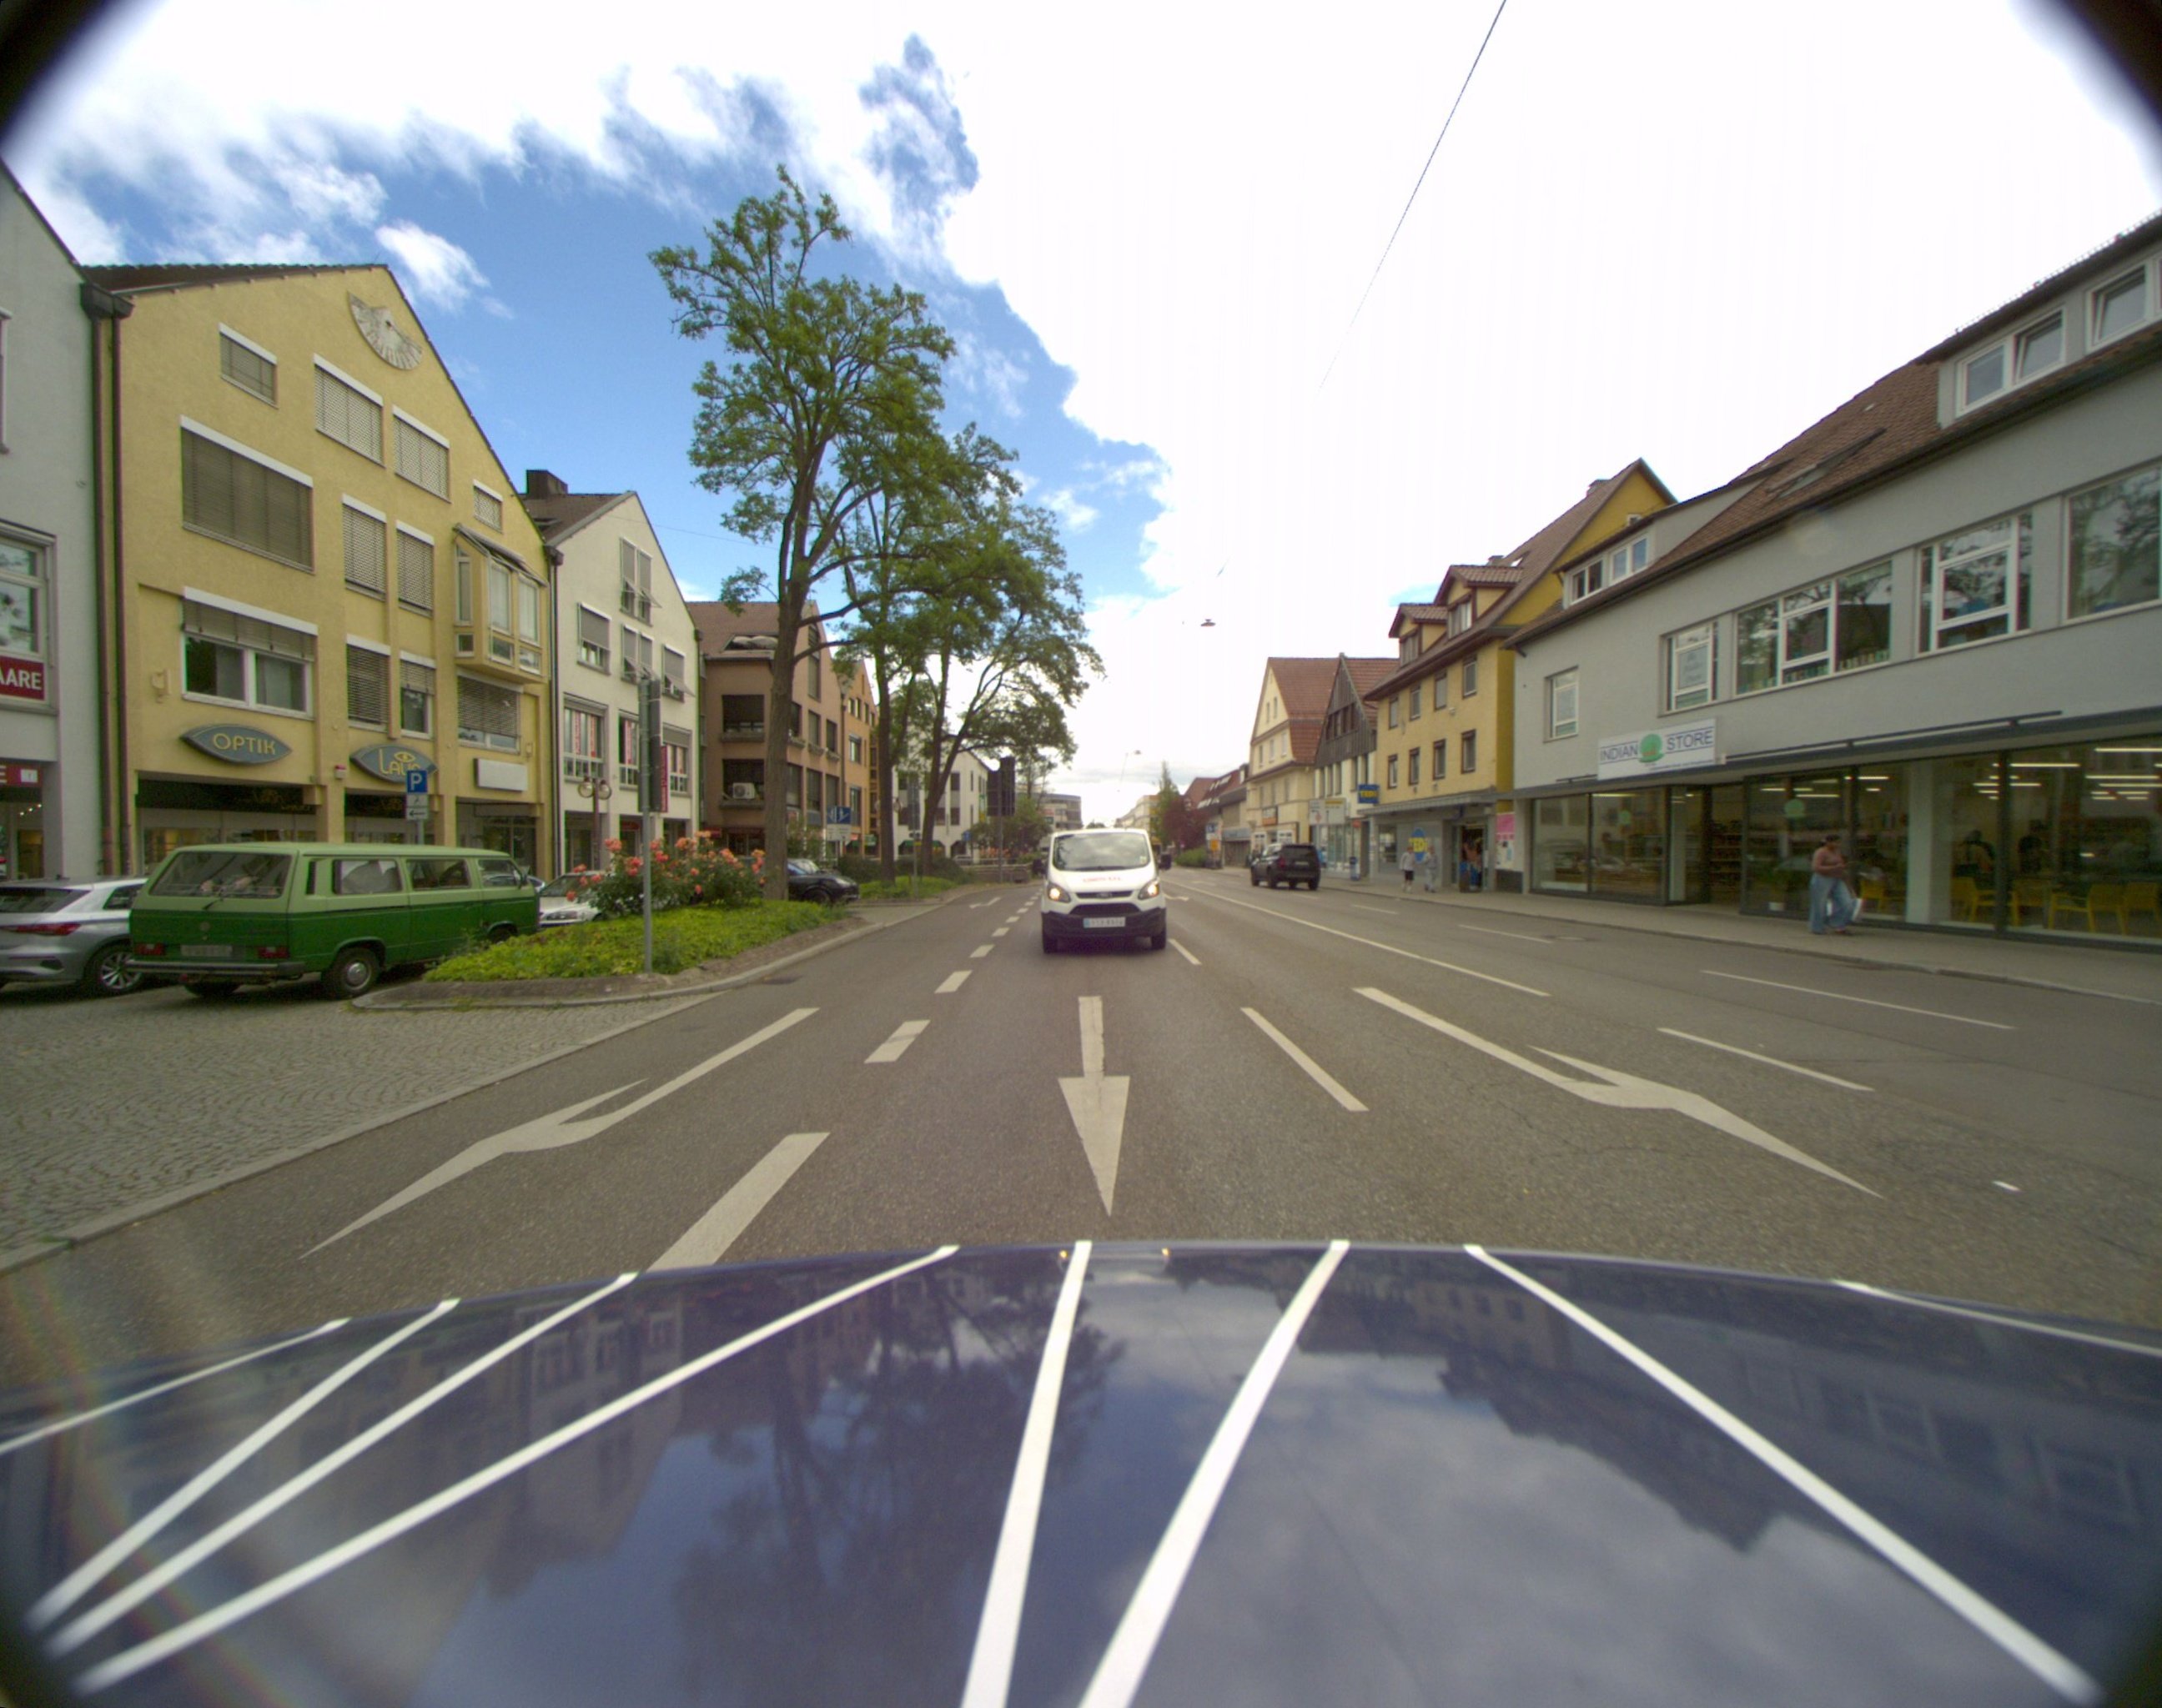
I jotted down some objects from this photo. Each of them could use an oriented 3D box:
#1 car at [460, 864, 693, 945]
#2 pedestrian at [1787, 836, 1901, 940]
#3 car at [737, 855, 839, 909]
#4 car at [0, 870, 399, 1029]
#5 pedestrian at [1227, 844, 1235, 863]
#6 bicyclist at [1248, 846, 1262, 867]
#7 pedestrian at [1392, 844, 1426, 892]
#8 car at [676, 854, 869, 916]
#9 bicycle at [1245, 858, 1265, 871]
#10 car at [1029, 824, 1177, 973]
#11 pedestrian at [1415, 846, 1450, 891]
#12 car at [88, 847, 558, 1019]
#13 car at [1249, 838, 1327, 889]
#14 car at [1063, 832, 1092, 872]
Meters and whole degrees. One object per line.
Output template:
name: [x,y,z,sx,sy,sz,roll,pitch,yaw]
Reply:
car: [-10.223,0.937,15.963,1.843,1.302,4.752,0,1,-2]
pedestrian: [12.638,0.535,12.614,1.001,1.657,0.872,-1,1,1]
car: [-10.210,0.913,26.931,1.999,1.645,4.751,0,1,-3]
car: [-12.569,1.094,10.587,1.999,1.539,4.751,0,1,-3]
pedestrian: [15.472,-0.042,78.517,0.673,1.891,0.678,-1,1,0]
bicyclist: [11.672,0.150,50.985,0.773,1.415,0.752,0,1,0]
pedestrian: [11.571,0.493,26.847,0.812,1.651,0.920,-1,1,1]
car: [-8.660,0.850,21.758,4.754,1.669,1.998,0,0,-8]
bicycle: [11.667,0.664,50.991,0.773,0.818,2.239,0,1,0]
car: [0.323,0.593,13.306,1.940,1.968,5.779,-2,0,0]
pedestrian: [12.457,0.501,26.935,0.812,1.574,0.920,-1,1,1]
car: [-9.994,0.860,10.773,1.999,1.865,4.752,1,1,-2]
car: [8.636,0.360,32.132,1.928,1.957,4.769,1,1,0]
car: [-0.213,-0.168,56.540,1.940,2.714,5.018,-2,1,0]
